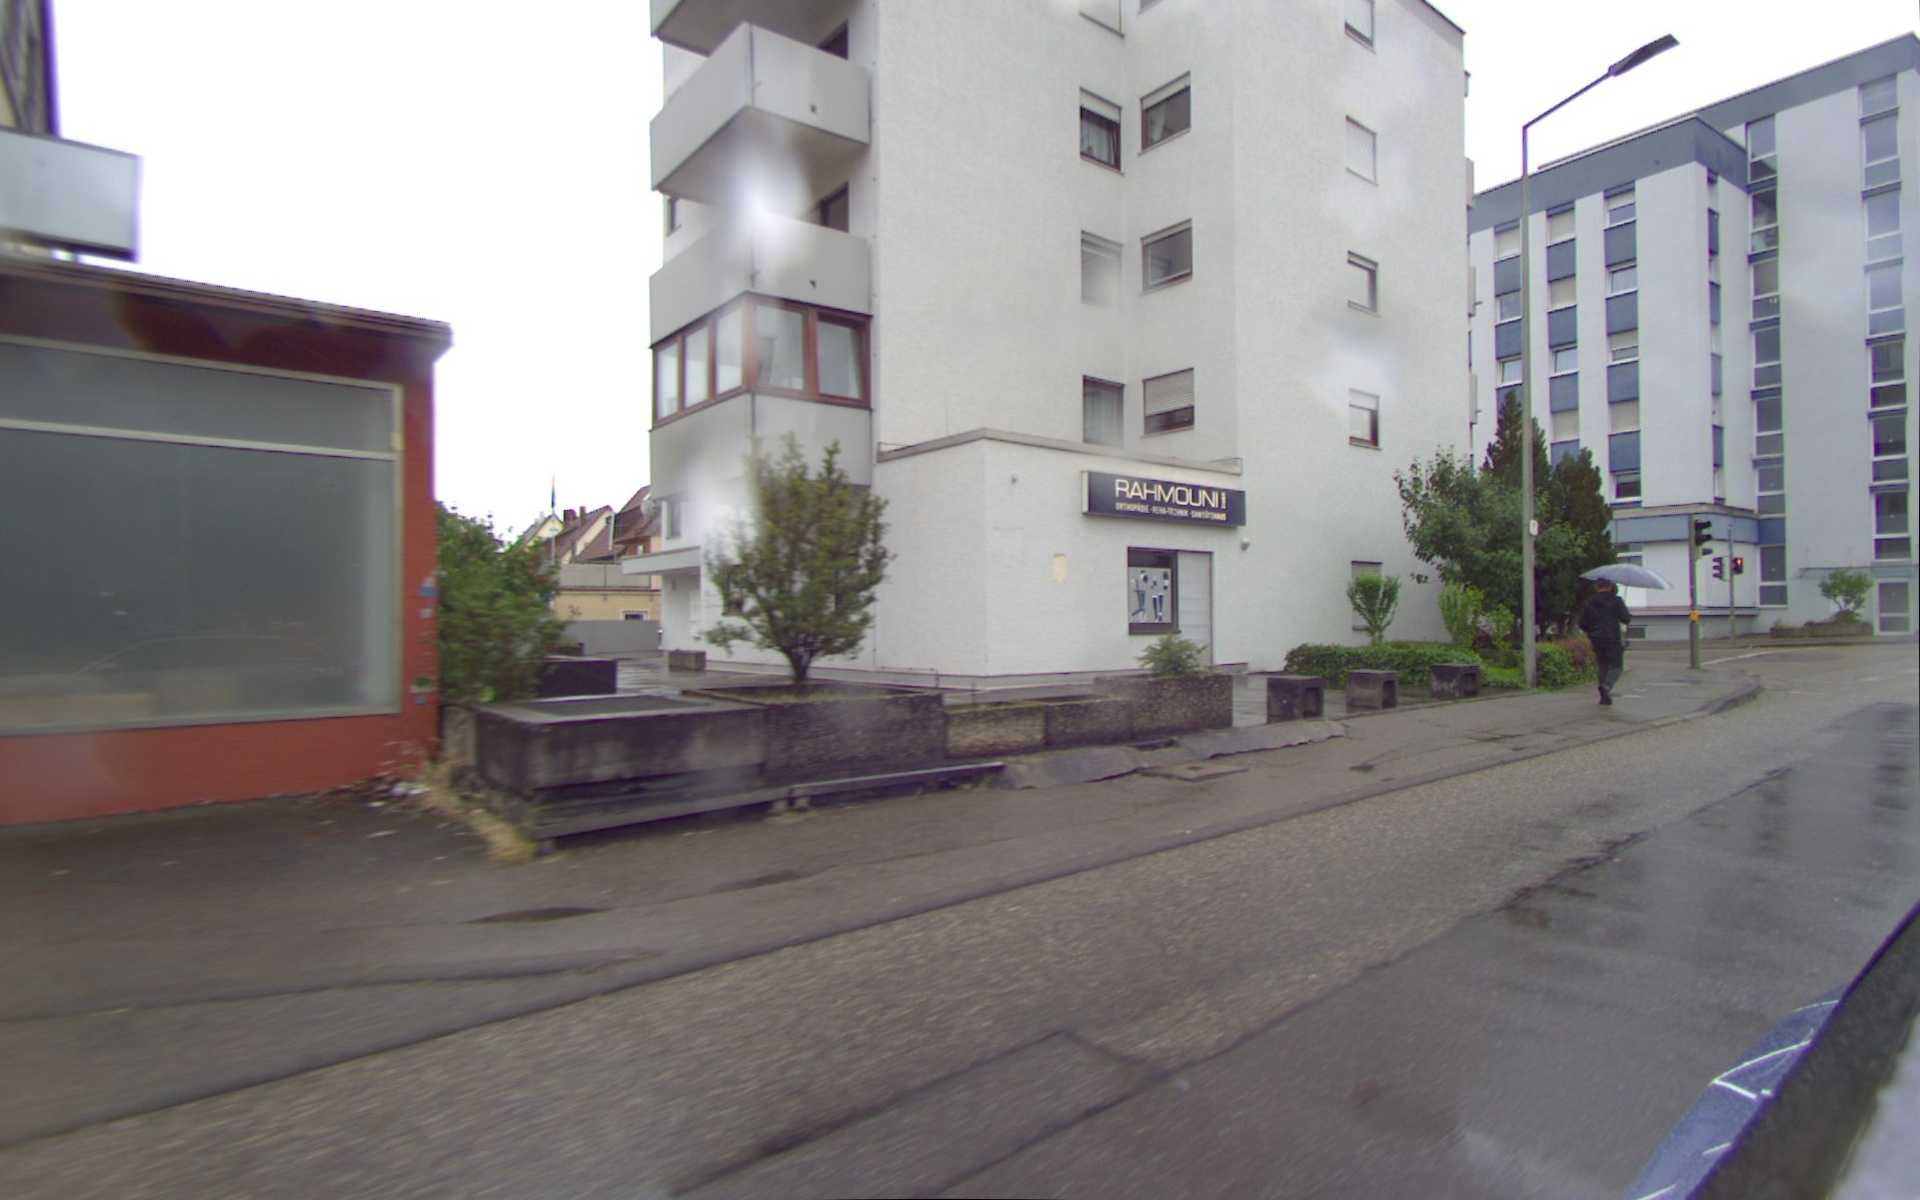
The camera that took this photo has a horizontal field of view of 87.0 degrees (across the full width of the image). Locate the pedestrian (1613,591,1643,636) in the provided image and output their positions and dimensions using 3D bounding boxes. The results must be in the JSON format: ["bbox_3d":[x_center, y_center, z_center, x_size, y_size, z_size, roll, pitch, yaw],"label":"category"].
[{"bbox_3d":[25.698,0.514,38.925,0.644,1.673,0.645,-1,-5,-36],"label":"pedestrian"}]

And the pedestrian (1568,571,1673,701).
[{"bbox_3d":[8.444,0.447,12.943,0.975,1.588,0.754,-1,-3,-37],"label":"pedestrian"}]
